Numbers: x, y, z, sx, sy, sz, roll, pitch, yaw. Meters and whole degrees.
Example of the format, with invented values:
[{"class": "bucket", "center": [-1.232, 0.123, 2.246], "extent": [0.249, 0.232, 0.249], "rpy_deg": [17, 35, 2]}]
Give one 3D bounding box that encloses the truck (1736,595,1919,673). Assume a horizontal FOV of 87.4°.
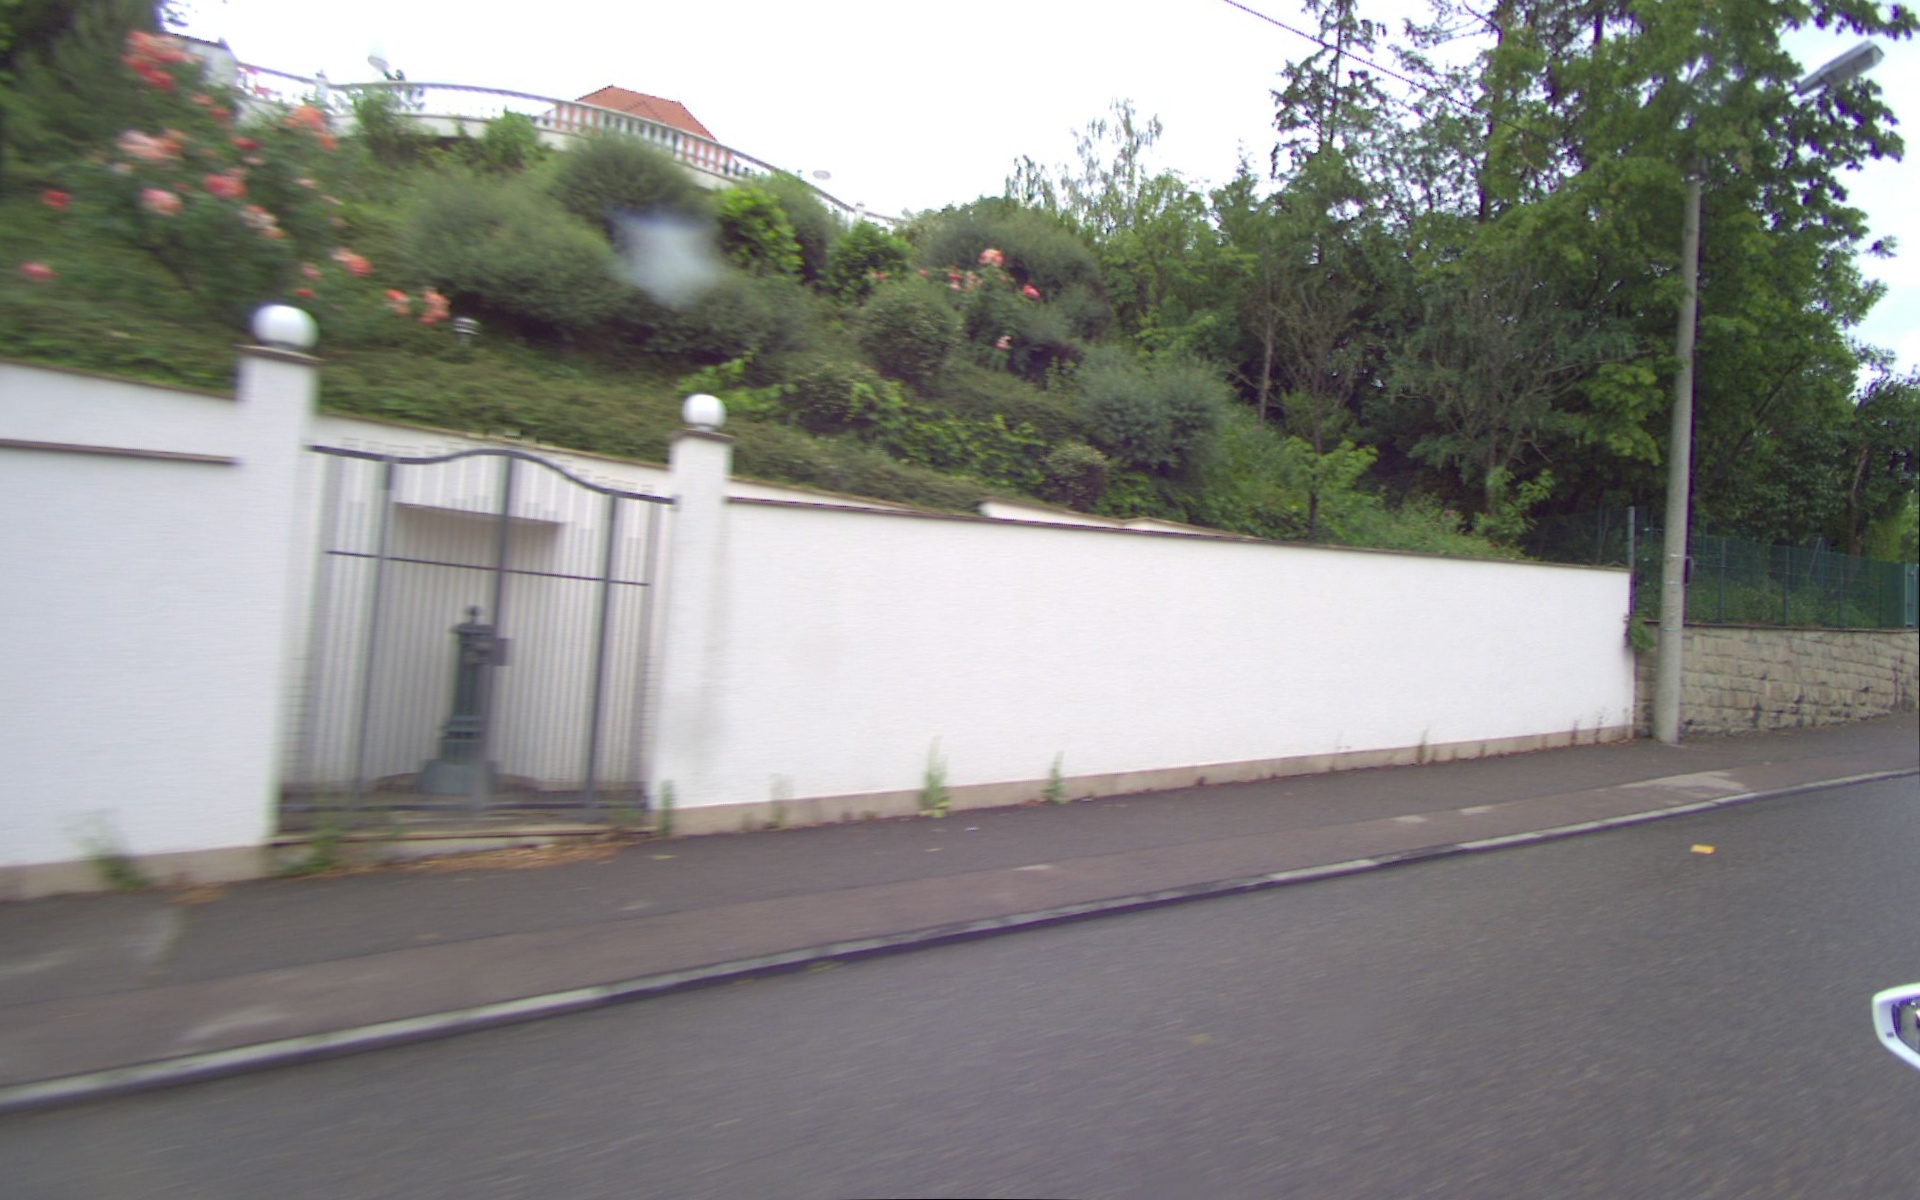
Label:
[{"class": "truck", "center": [44.163, 1.602, 50.501], "extent": [2.730, 3.517, 8.927], "rpy_deg": [2, 0, -5]}]
